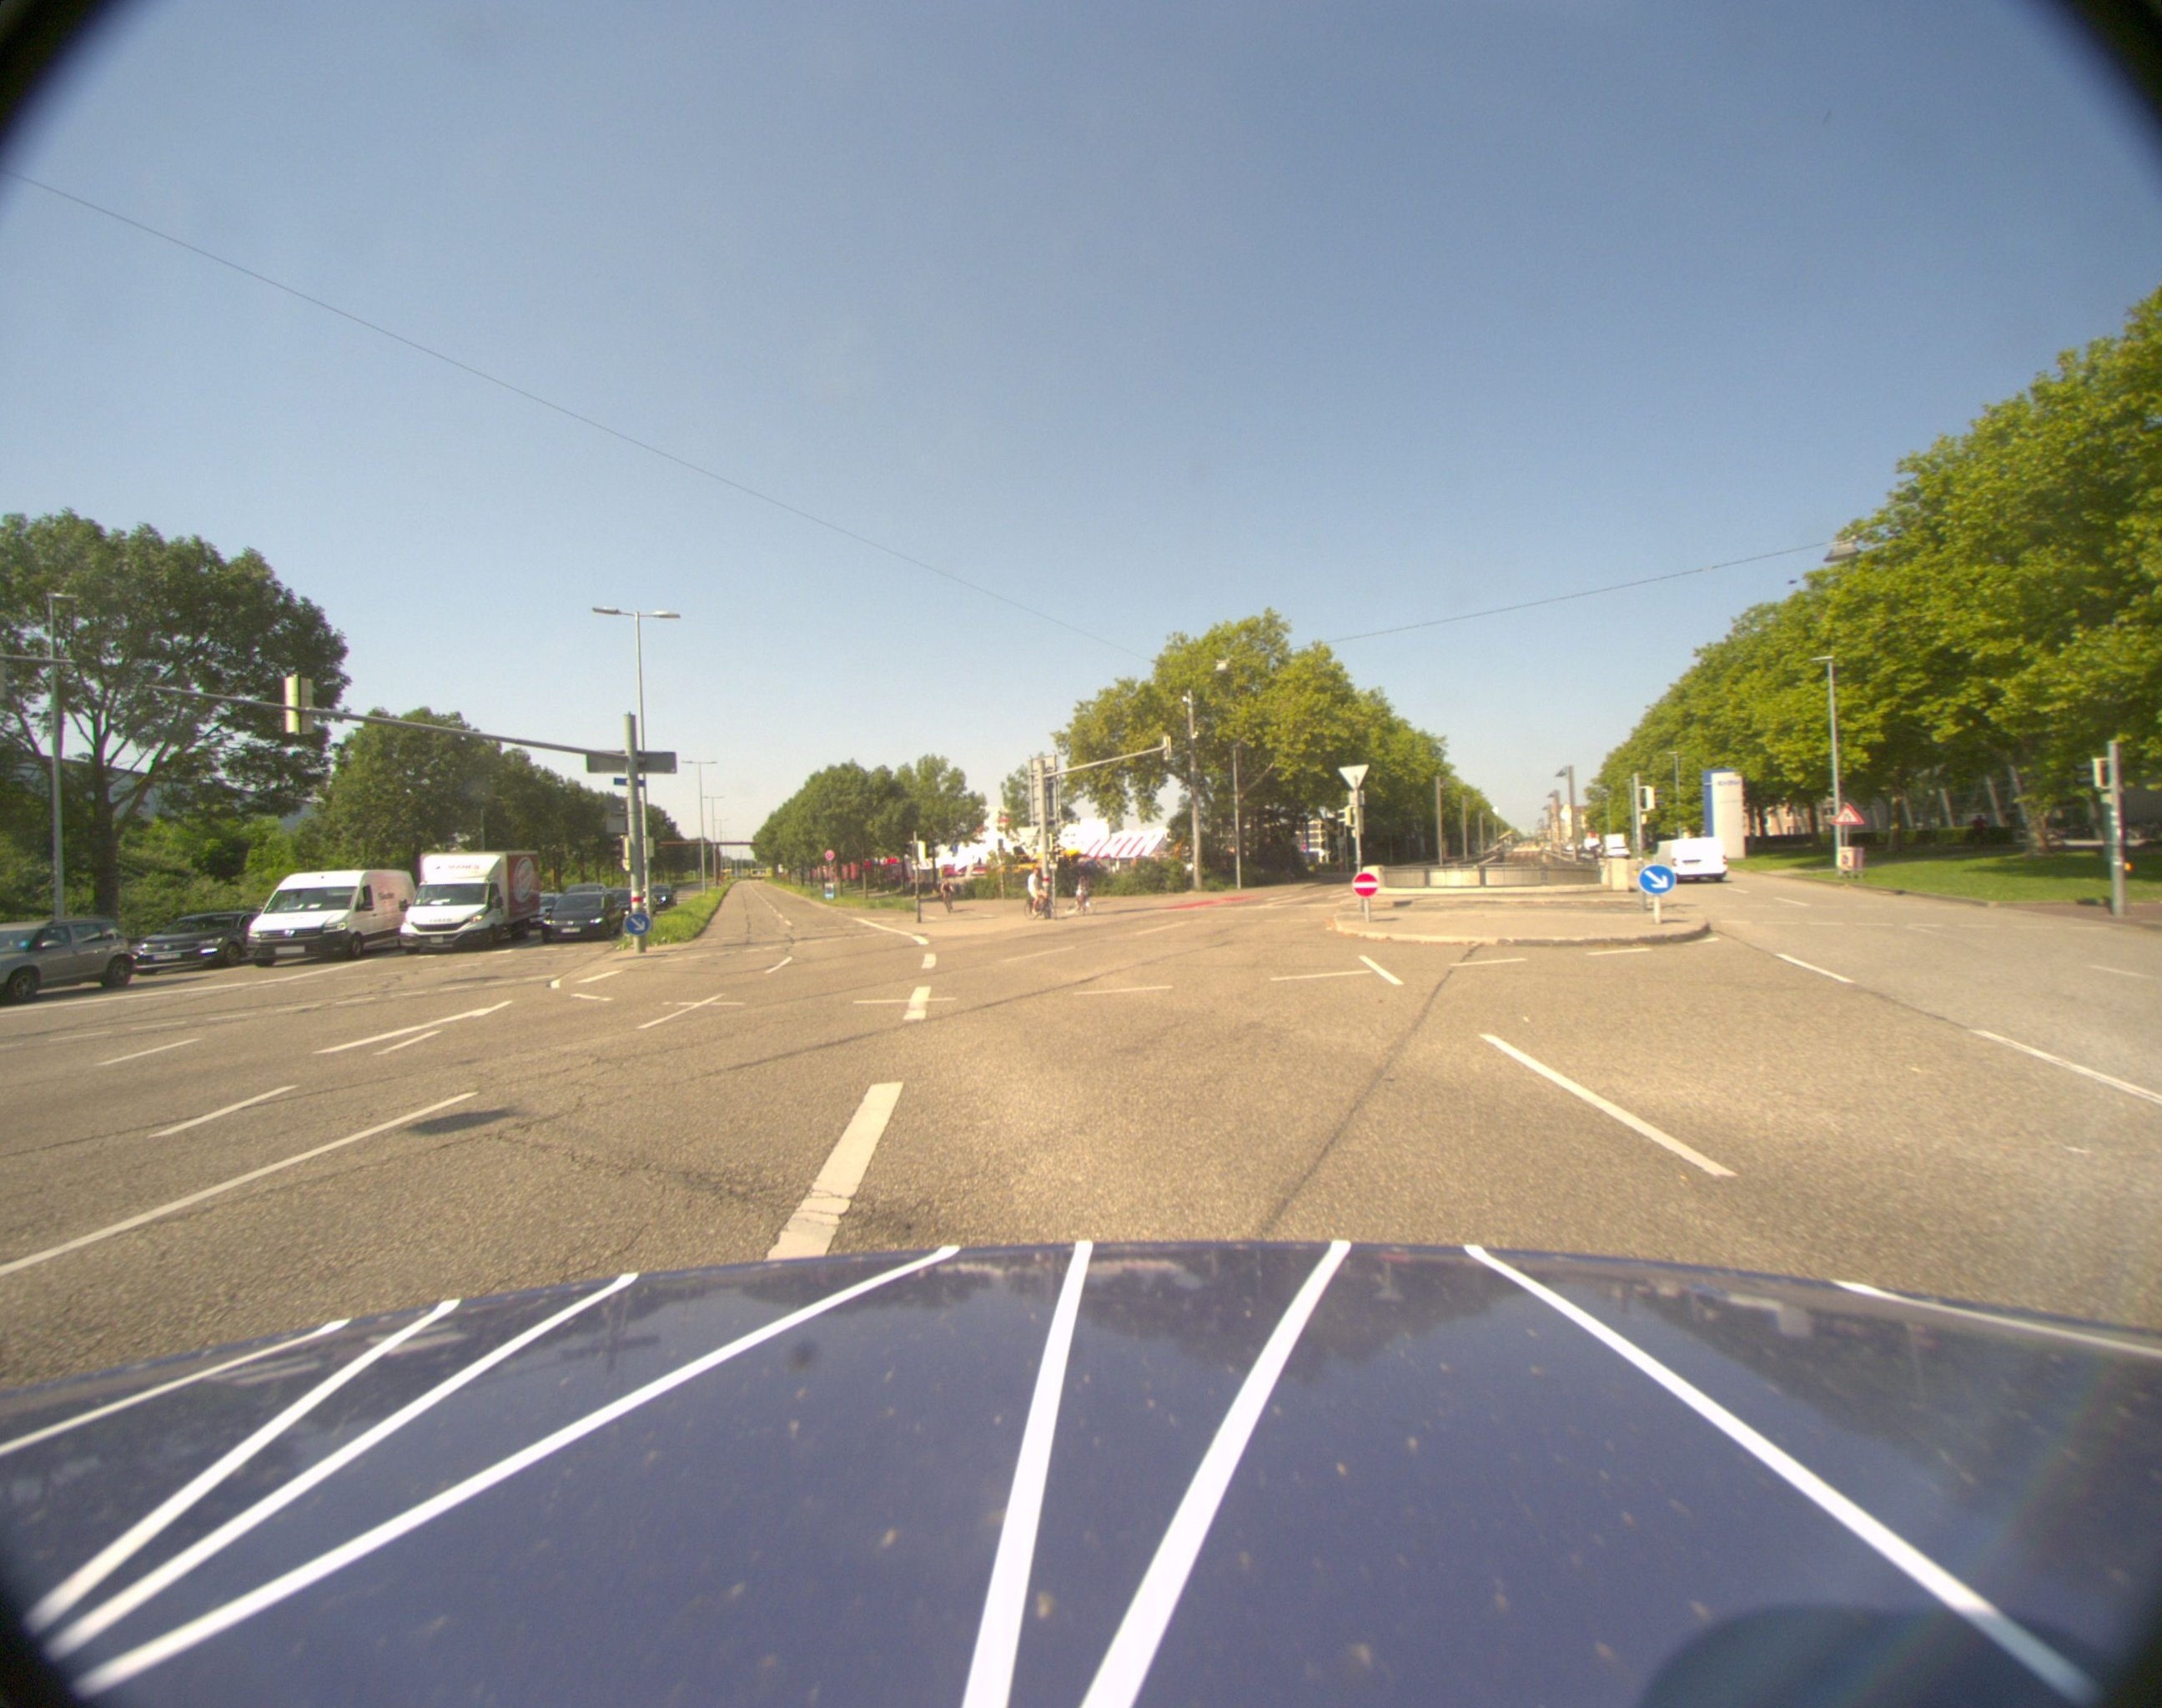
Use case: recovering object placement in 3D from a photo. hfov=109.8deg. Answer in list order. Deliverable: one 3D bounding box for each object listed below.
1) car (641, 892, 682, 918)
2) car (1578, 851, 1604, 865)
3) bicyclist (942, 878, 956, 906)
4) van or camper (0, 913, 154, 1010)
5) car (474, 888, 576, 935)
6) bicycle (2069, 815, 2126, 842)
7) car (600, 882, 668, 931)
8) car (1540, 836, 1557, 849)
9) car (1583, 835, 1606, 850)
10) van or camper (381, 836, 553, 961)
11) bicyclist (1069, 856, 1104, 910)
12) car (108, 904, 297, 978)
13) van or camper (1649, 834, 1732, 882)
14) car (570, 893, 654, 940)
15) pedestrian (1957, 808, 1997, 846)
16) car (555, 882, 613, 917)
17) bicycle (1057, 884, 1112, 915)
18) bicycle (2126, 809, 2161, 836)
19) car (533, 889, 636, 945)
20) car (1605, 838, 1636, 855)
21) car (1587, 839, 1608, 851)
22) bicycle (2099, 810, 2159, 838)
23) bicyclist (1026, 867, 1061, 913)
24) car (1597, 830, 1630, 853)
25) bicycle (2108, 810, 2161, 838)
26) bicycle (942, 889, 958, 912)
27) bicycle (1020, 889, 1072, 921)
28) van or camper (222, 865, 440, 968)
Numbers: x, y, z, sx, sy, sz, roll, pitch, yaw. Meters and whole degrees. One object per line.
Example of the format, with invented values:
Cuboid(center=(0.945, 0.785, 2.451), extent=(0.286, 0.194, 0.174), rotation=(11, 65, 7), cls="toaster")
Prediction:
Cuboid(center=(-25.437, 3.061, 46.179), extent=(1.658, 1.389, 3.750), rotation=(-4, -1, -21), cls="car")
Cuboid(center=(50.054, 0.361, 74.641), extent=(1.658, 1.213, 3.901), rotation=(-5, -2, 28), cls="car")
Cuboid(center=(-6.701, 1.927, 38.680), extent=(0.502, 1.356, 0.696), rotation=(-5, -1, -2), cls="bicyclist")
Cuboid(center=(-21.943, 2.209, 15.636), extent=(1.853, 1.765, 4.168), rotation=(-4, -2, -23), cls="van or camper")
Cuboid(center=(-22.895, 2.343, 31.544), extent=(2.168, 1.599, 4.968), rotation=(-4, -2, -22), cls="car")
Cuboid(center=(66.849, -1.664, 49.997), extent=(2.165, 1.545, 0.601), rotation=(-5, -1, 24), cls="bicycle")
Cuboid(center=(-23.713, 2.756, 40.531), extent=(2.251, 2.247, 5.216), rotation=(-4, -2, -22), cls="car")
Cuboid(center=(79.918, -1.968, 129.916), extent=(1.996, 2.001, 4.007), rotation=(-5, -2, 25), cls="car")
Cuboid(center=(77.167, -1.683, 114.181), extent=(2.287, 2.067, 4.664), rotation=(-5, -2, 29), cls="car")
Cuboid(center=(-19.538, 1.407, 24.682), extent=(2.251, 3.342, 6.841), rotation=(-4, -1, -22), cls="van or camper")
Cuboid(center=(0.203, 1.120, 29.202), extent=(0.599, 2.001, 1.202), rotation=(-4, -1, -40), cls="bicyclist")
Cuboid(center=(-24.632, 2.353, 21.549), extent=(2.002, 1.543, 3.992), rotation=(-4, 1, -26), cls="car")
Cuboid(center=(26.414, 0.168, 33.109), extent=(1.842, 1.935, 4.957), rotation=(-2, 0, 27), cls="van or camper")
Cuboid(center=(-20.372, 2.667, 33.260), extent=(2.148, 1.730, 5.216), rotation=(-4, -2, -22), cls="car")
Cuboid(center=(49.356, -1.477, 41.858), extent=(0.947, 2.001, 1.351), rotation=(-5, -1, 32), cls="pedestrian")
Cuboid(center=(-26.854, 2.442, 41.143), extent=(1.658, 1.654, 3.751), rotation=(-4, -1, -19), cls="car")
Cuboid(center=(0.110, 1.779, 29.322), extent=(0.774, 1.080, 2.258), rotation=(-2, -3, -41), cls="bicycle")
Cuboid(center=(66.475, -1.964, 46.930), extent=(2.165, 1.545, 0.601), rotation=(-5, -1, 24), cls="bicycle")
Cuboid(center=(-17.149, 2.136, 26.528), extent=(1.908, 1.603, 5.189), rotation=(-4, -2, -22), cls="car")
Cuboid(center=(54.565, -0.780, 76.926), extent=(1.995, 1.444, 4.007), rotation=(-5, -2, 29), cls="car")
Cuboid(center=(70.818, -1.289, 104.247), extent=(1.995, 1.444, 4.007), rotation=(-5, -2, 29), cls="car")
Cuboid(center=(67.107, -1.905, 48.686), extent=(2.165, 1.545, 0.601), rotation=(-5, -1, 24), cls="bicycle")
Cuboid(center=(-1.371, 1.296, 27.503), extent=(0.599, 1.584, 1.202), rotation=(-4, -1, -36), cls="bicyclist")
Cuboid(center=(56.910, -1.329, 81.280), extent=(2.287, 2.219, 4.664), rotation=(-5, -2, 29), cls="car")
Cuboid(center=(66.856, -1.912, 48.047), extent=(2.165, 1.545, 0.601), rotation=(-5, -1, 24), cls="bicycle")
Cuboid(center=(-6.634, 2.340, 38.547), extent=(0.572, 1.049, 1.494), rotation=(-5, -1, -3), cls="bicycle")
Cuboid(center=(-1.292, 1.826, 27.499), extent=(0.774, 1.081, 2.215), rotation=(-2, -1, -36), cls="bicycle")
Cuboid(center=(-22.037, 1.775, 22.846), extent=(2.252, 2.467, 6.855), rotation=(-4, -2, -24), cls="van or camper")
